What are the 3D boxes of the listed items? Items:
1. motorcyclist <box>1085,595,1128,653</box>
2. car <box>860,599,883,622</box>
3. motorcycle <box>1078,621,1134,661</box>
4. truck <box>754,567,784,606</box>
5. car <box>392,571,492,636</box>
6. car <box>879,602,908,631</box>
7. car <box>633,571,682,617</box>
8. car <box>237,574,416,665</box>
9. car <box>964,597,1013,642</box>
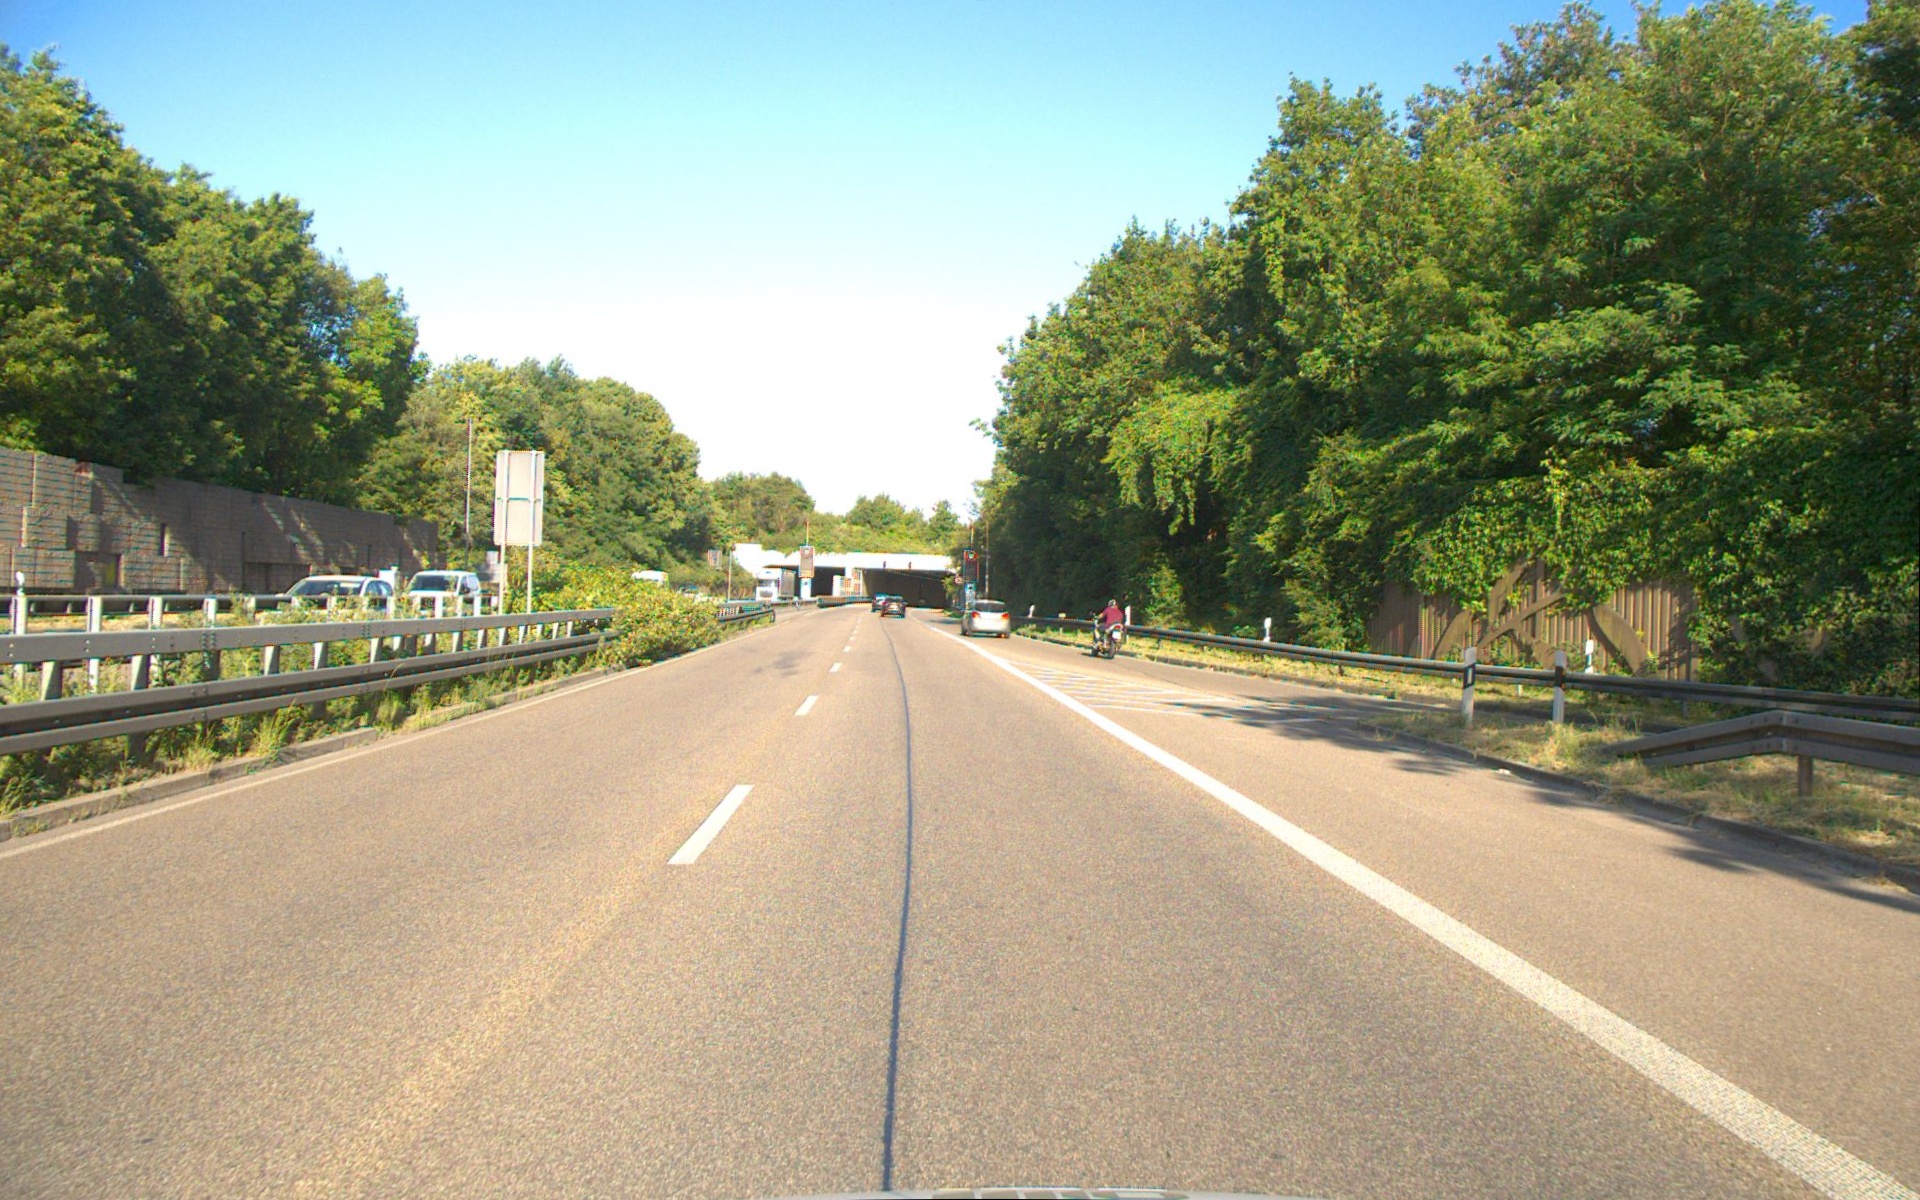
[{"bbox_3d":[4.109,0.659,46.350,0.867,1.527,1.060,3,1,-12],"label":"motorcyclist"},{"bbox_3d":[-8.014,0.974,150.352,1.954,1.959,3.998,2,0,-3],"label":"car"},{"bbox_3d":[4.077,1.131,46.365,0.843,1.008,2.722,3,0,-10],"label":"motorcycle"},{"bbox_3d":[-22.087,-1.578,191.360,2.681,4.335,6.385,3,1,-2],"label":"truck"},{"bbox_3d":[-16.369,0.067,52.525,1.785,1.853,4.619,3,1,-2],"label":"car"},{"bbox_3d":[-4.836,1.182,119.523,1.954,1.959,3.998,2,0,-3],"label":"car"},{"bbox_3d":[-19.060,-0.413,104.559,2.105,2.656,6.049,3,1,-3],"label":"car"},{"bbox_3d":[-11.977,0.305,31.617,1.786,1.506,4.619,3,1,-3],"label":"car"},{"bbox_3d":[1.119,0.745,66.074,1.634,1.579,3.999,3,1,-2],"label":"car"}]
